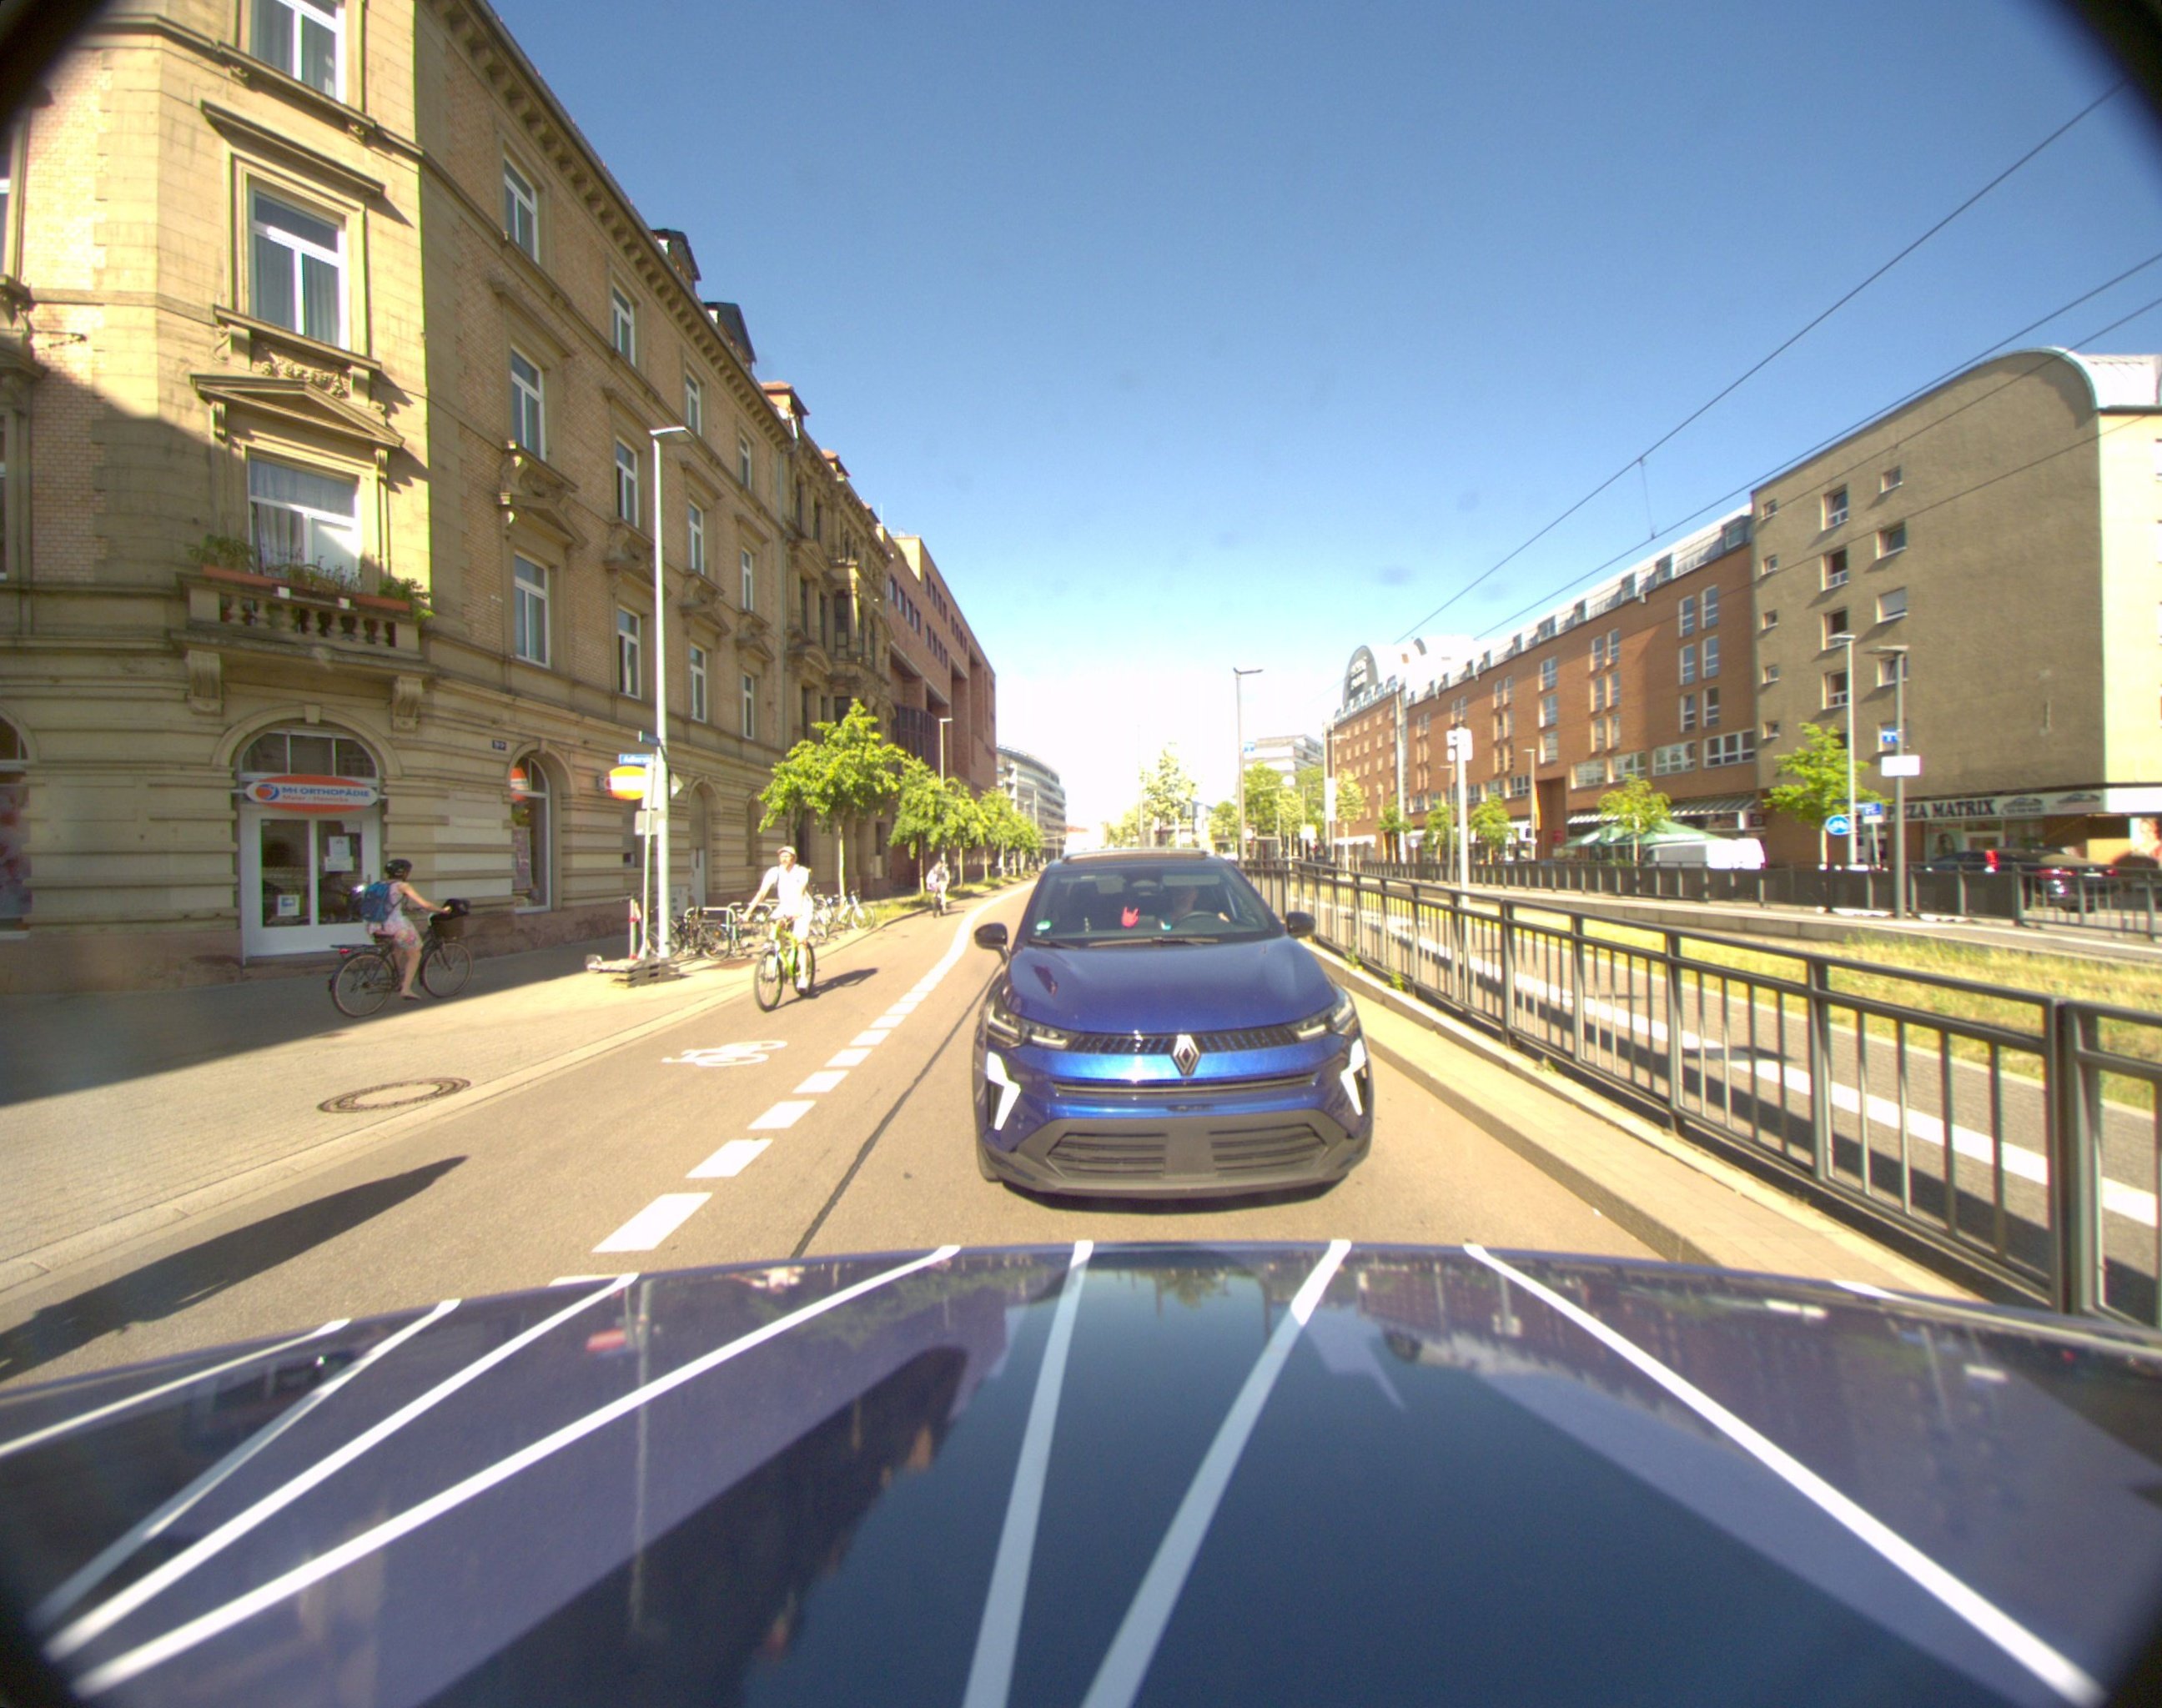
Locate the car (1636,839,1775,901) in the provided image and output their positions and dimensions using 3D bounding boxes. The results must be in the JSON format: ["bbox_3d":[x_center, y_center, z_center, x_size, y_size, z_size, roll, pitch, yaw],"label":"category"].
[{"bbox_3d":[25.336,0.573,31.107,1.997,2.283,5.192,-2,1,9],"label":"car"}]

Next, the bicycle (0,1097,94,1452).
[{"bbox_3d":[-3.688,1.311,1.518,0.830,1.000,1.952,-2,0,1],"label":"bicycle"}]

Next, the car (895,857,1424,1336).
[{"bbox_3d":[0.306,0.863,4.876,1.758,1.576,4.420,-4,0,1],"label":"car"}]

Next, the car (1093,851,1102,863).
[{"bbox_3d":[3.507,0.664,159.237,1.758,2.471,4.610,-1,0,1],"label":"car"}]

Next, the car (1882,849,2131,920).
[{"bbox_3d":[24.212,0.709,20.146,1.699,1.630,3.999,-2,1,-1],"label":"car"}]

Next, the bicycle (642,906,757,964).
[{"bbox_3d":[-6.581,1.397,13.138,1.717,0.920,0.497,-1,1,1],"label":"bicycle"}]

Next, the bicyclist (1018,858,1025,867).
[{"bbox_3d":[-8.630,1.171,110.190,0.739,1.301,0.638,-1,0,23],"label":"bicyclist"}]

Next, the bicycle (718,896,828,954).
[{"bbox_3d":[-5.938,1.368,14.716,1.876,1.043,0.608,1,1,-4],"label":"bicycle"}]

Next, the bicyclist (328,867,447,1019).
[{"bbox_3d":[-7.829,0.971,8.616,0.579,1.608,0.794,-1,1,-2],"label":"bicyclist"}]

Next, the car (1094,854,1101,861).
[{"bbox_3d":[4.021,0.831,186.315,1.745,1.543,4.000,-1,0,0],"label":"car"}]

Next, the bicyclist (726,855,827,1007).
[{"bbox_3d":[-3.505,0.845,8.814,0.700,1.647,0.977,-2,0,1],"label":"bicyclist"}]

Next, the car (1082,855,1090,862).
[{"bbox_3d":[1.131,1.094,172.434,1.745,1.543,4.000,-1,0,1],"label":"car"}]

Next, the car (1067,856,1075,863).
[{"bbox_3d":[-2.207,1.213,173.705,1.745,1.543,4.000,-1,0,1],"label":"car"}]

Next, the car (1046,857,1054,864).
[{"bbox_3d":[-7.082,1.392,174.158,1.745,1.543,4.000,-1,0,0],"label":"car"}]

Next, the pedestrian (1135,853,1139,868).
[{"bbox_3d":[7.375,0.869,100.774,0.482,1.878,0.503,-1,1,1],"label":"pedestrian"}]

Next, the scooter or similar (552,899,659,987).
[{"bbox_3d":[-6.851,1.273,10.989,1.199,1.191,0.487,-1,0,-4],"label":"scooter or similar"}]

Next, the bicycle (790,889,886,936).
[{"bbox_3d":[-5.983,1.429,18.778,2.062,1.036,0.847,2,1,0],"label":"bicycle"}]

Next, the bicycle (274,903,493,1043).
[{"bbox_3d":[-7.834,1.271,8.698,0.579,1.246,2.097,-1,1,-2],"label":"bicycle"}]

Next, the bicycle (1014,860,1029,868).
[{"bbox_3d":[-8.612,1.452,110.179,2.041,1.013,0.647,-1,0,24],"label":"bicycle"}]

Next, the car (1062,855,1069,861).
[{"bbox_3d":[-3.834,0.968,189.768,1.745,1.543,4.000,-1,0,1],"label":"car"}]

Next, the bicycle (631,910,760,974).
[{"bbox_3d":[-6.332,1.434,12.504,1.905,0.906,0.592,1,2,9],"label":"bicycle"}]

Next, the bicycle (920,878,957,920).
[{"bbox_3d":[-4.500,1.404,24.142,0.725,1.187,1.952,-2,0,1],"label":"bicycle"}]

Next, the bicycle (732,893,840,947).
[{"bbox_3d":[-6.272,1.388,16.230,1.903,1.024,1.030,1,1,-2],"label":"bicycle"}]

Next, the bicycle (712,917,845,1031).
[{"bbox_3d":[-3.471,1.337,8.929,0.725,1.000,1.952,-2,0,1],"label":"bicycle"}]

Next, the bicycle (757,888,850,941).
[{"bbox_3d":[-6.312,1.362,17.375,1.678,1.055,1.134,3,1,-1],"label":"bicycle"}]

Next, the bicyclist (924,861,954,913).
[{"bbox_3d":[-4.515,1.043,24.191,0.725,1.595,0.895,-2,0,1],"label":"bicyclist"}]
